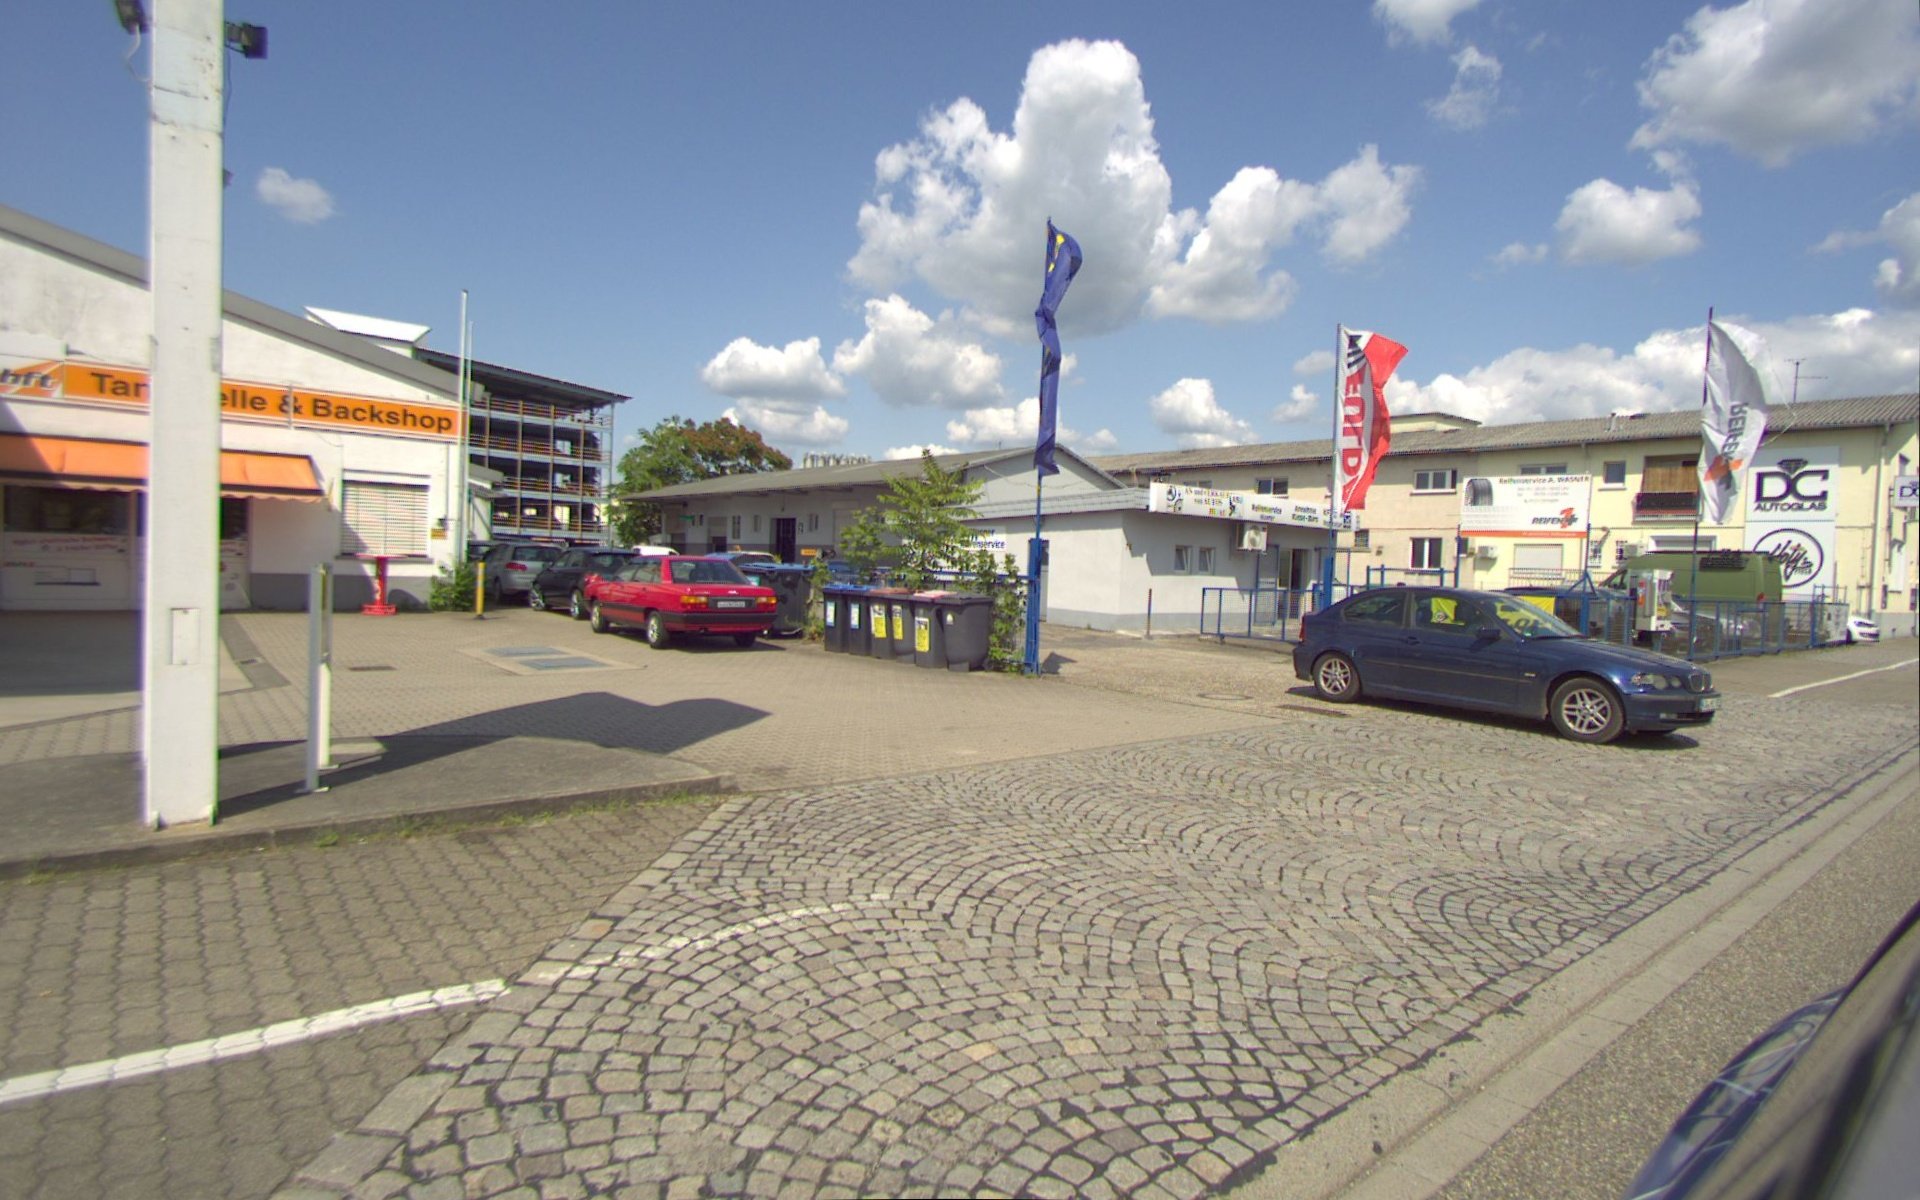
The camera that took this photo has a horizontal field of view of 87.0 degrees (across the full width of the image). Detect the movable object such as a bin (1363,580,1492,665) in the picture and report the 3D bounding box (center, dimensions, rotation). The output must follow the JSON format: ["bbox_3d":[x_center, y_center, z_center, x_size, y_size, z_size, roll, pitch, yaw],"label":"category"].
[{"bbox_3d":[8.396,0.352,18.175,1.734,1.427,1.535,-1,1,-41],"label":"movable object such as a bin"}]

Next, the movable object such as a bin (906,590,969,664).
[{"bbox_3d":[-0.324,0.366,14.484,0.694,1.023,0.581,0,1,-41],"label":"movable object such as a bin"}]

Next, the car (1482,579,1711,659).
[{"bbox_3d":[13.457,0.326,21.670,1.592,1.481,3.918,0,2,-23],"label":"car"}]

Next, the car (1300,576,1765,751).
[{"bbox_3d":[5.888,0.505,10.923,1.615,1.425,4.069,0,3,-33],"label":"car"}]

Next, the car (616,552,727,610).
[{"bbox_3d":[-7.130,-0.504,24.836,1.460,1.240,3.311,-1,4,-38],"label":"car"}]

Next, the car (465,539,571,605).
[{"bbox_3d":[-10.727,-0.719,24.426,1.500,1.442,3.594,0,4,-38],"label":"car"}]

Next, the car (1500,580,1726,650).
[{"bbox_3d":[15.421,0.280,24.174,1.789,1.524,4.272,0,1,-23],"label":"car"}]

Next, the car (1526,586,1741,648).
[{"bbox_3d":[17.163,0.364,26.009,1.707,1.391,4.266,0,2,-33],"label":"car"}]

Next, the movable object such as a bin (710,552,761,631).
[{"bbox_3d":[-4.151,-0.164,18.741,0.694,1.408,0.581,0,2,-42],"label":"movable object such as a bin"}]

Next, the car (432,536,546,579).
[{"bbox_3d":[-23.675,-2.108,50.962,4.866,2.039,1.967,-1,1,-45],"label":"car"}]

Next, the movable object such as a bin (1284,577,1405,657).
[{"bbox_3d":[7.341,0.286,19.344,1.734,1.427,1.535,-1,1,-41],"label":"movable object such as a bin"}]

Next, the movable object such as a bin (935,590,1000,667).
[{"bbox_3d":[0.097,0.375,14.006,0.694,1.023,0.581,0,1,-41],"label":"movable object such as a bin"}]

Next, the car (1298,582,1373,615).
[{"bbox_3d":[15.121,-0.070,40.700,3.218,1.277,1.452,-1,1,-39],"label":"car"}]

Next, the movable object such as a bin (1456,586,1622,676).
[{"bbox_3d":[9.594,0.460,16.800,1.678,1.364,1.966,-1,1,-40],"label":"movable object such as a bin"}]

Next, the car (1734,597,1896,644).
[{"bbox_3d":[27.356,0.616,32.486,1.490,1.375,3.729,0,1,-36],"label":"car"}]

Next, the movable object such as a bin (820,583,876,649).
[{"bbox_3d":[-1.799,0.246,16.246,0.694,1.023,0.581,0,1,-41],"label":"movable object such as a bin"}]

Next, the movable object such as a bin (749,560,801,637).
[{"bbox_3d":[-3.234,-0.031,17.698,0.694,1.313,0.581,0,1,-41],"label":"movable object such as a bin"}]

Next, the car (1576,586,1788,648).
[{"bbox_3d":[19.183,0.384,27.075,1.791,1.526,4.266,0,1,-32],"label":"car"}]

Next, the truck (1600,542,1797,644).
[{"bbox_3d":[21.071,-0.234,29.025,2.070,2.694,4.181,0,1,-38],"label":"truck"}]

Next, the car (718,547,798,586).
[{"bbox_3d":[-9.832,-1.605,49.414,3.536,1.764,1.538,1,1,-42],"label":"car"}]

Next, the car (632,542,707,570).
[{"bbox_3d":[-16.225,-2.440,56.641,1.537,1.361,3.743,2,1,45],"label":"car"}]

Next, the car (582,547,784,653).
[{"bbox_3d":[-4.667,-0.097,16.659,1.739,1.442,4.147,-1,4,-38],"label":"car"}]

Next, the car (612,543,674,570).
[{"bbox_3d":[-18.142,-2.478,58.024,3.093,1.394,1.380,1,1,-42],"label":"car"}]

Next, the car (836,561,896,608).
[{"bbox_3d":[-3.042,-0.507,32.226,1.605,1.370,3.679,1,1,-9],"label":"car"}]
